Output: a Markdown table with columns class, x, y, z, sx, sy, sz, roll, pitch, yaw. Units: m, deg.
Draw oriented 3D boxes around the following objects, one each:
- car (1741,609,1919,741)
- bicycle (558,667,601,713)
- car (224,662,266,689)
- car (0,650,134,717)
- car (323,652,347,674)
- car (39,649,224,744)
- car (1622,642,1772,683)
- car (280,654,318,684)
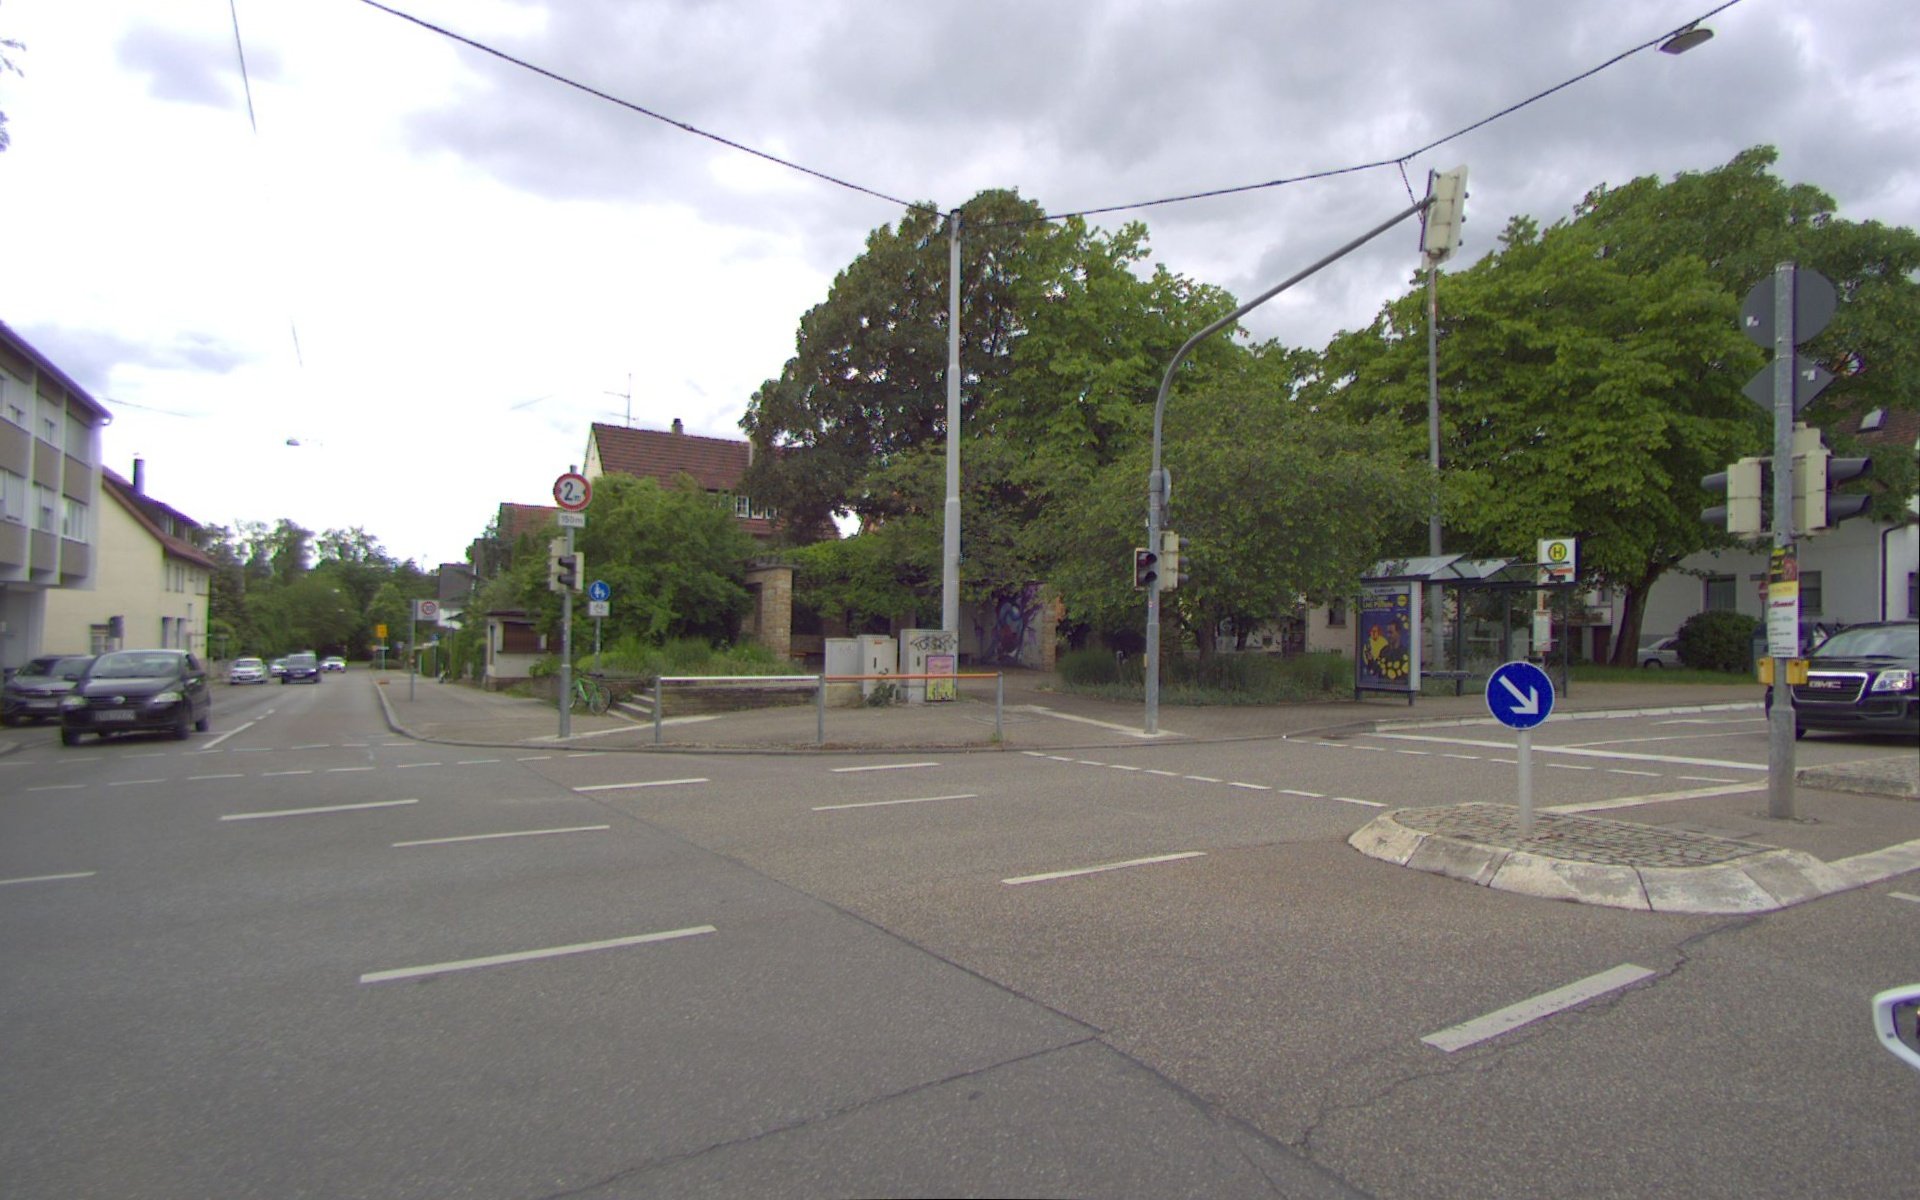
| class | x | y | z | sx | sy | sz | roll | pitch | yaw |
| --- | --- | --- | --- | --- | --- | --- | --- | --- | --- |
| car | 13.430 | 1.071 | 14.377 | 4.535 | 1.656 | 1.752 | 2 | -4 | -27 |
| bicycle | -8.213 | 1.939 | 21.657 | 0.422 | 0.954 | 1.302 | 2 | -5 | -43 |
| car | -42.450 | 4.430 | 59.696 | 1.774 | 1.480 | 4.378 | 0 | -3 | -33 |
| car | -20.966 | 1.929 | 23.579 | 1.735 | 1.416 | 3.620 | 0 | -4 | -28 |
| car | -65.456 | 6.586 | 105.203 | 1.978 | 2.040 | 3.964 | 2 | -1 | -32 |
| car | -14.077 | 1.590 | 17.295 | 1.750 | 1.416 | 3.620 | 1 | -4 | -28 |
| car | 26.244 | 2.245 | 35.899 | 1.700 | 1.349 | 3.974 | 2 | -4 | -27 |
| car | -37.973 | 3.957 | 57.776 | 1.723 | 1.537 | 3.965 | 1 | -2 | -32 |
